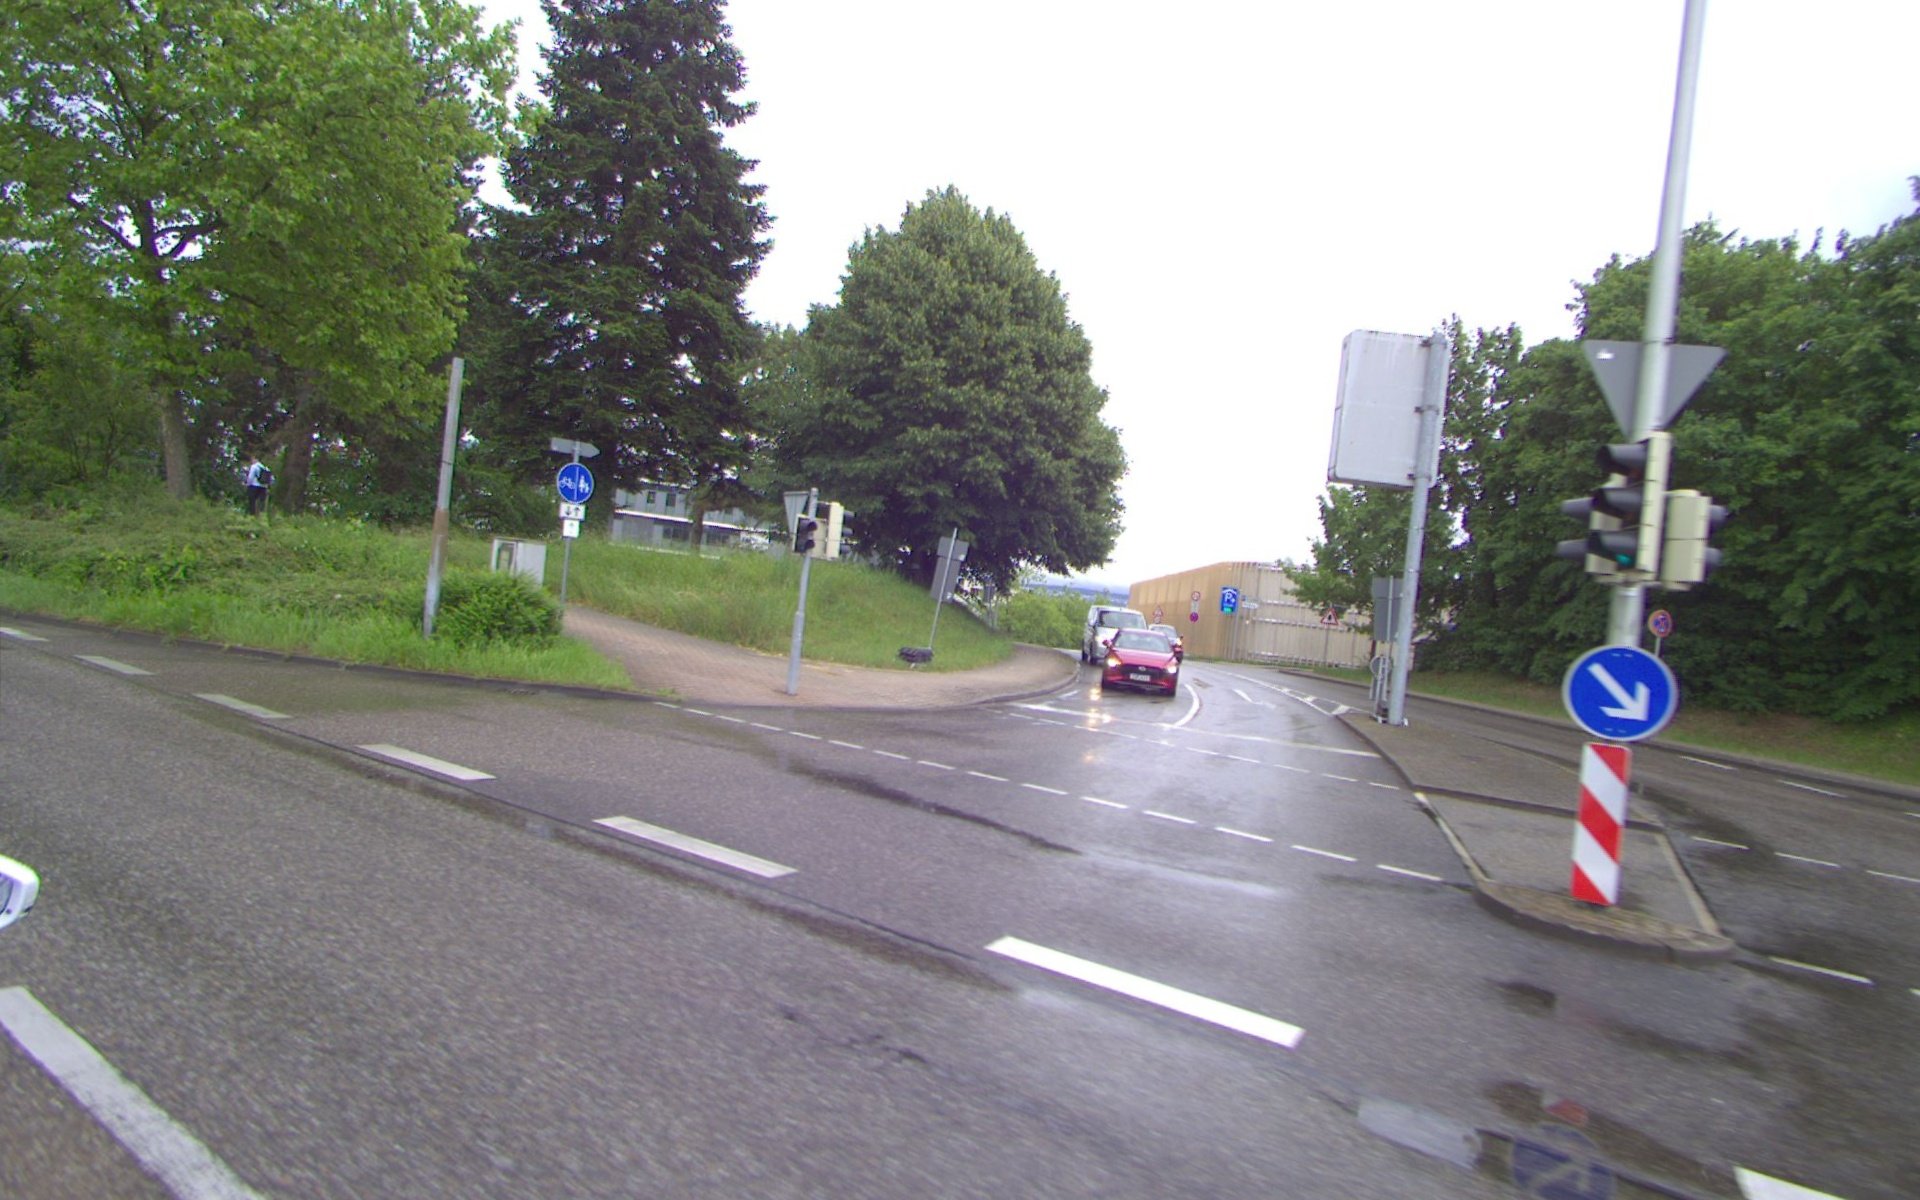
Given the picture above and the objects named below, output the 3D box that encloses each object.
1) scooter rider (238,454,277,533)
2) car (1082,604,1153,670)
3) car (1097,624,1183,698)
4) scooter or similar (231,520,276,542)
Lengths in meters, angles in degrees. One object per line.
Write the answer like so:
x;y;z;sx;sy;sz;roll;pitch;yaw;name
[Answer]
-18.533;-2.808;26.548;0.538;1.990;0.501;8;1;31;scooter rider
5.253;1.183;33.978;1.817;1.883;3.999;5;1;3;car
4.473;1.432;24.789;1.817;1.447;4.000;5;1;11;car
-18.657;-1.828;26.565;1.235;0.408;0.487;8;0;31;scooter or similar
